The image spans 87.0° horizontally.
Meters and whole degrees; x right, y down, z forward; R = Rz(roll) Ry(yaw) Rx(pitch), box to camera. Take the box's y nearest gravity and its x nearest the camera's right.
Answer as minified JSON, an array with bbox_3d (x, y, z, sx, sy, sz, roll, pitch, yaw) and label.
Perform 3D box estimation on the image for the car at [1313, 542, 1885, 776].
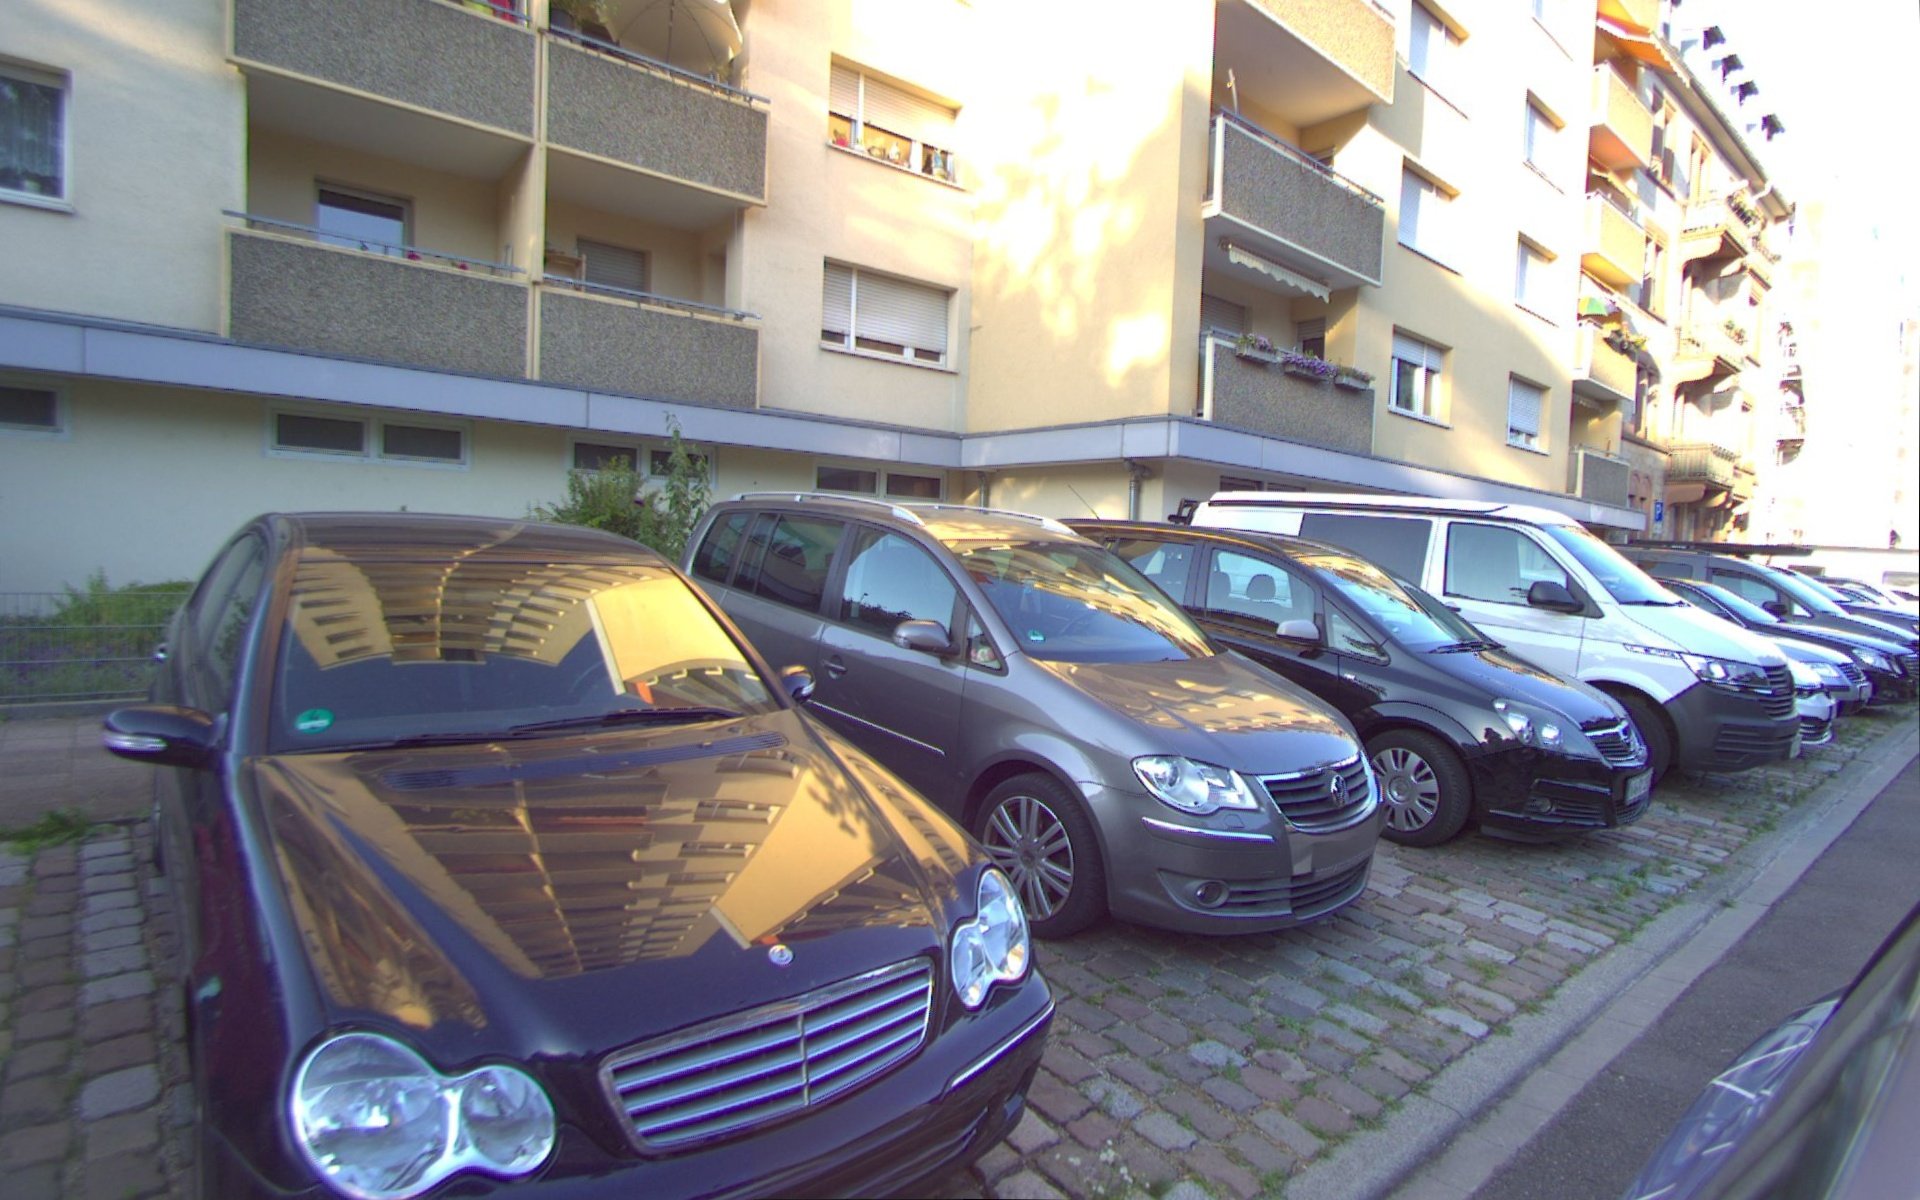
[{"bbox_3d":[6.025,0.330,10.043,1.814,1.650,4.414,-3,6,-41],"label":"car"}]

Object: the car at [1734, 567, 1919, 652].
[{"bbox_3d":[20.036,0.191,22.287,1.813,1.572,4.415,-2,6,-40],"label":"car"}]

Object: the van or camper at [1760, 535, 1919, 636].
[{"bbox_3d":[25.868,-0.338,27.503,2.014,2.533,6.075,0,5,-40],"label":"van or camper"}]

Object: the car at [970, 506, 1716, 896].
[{"bbox_3d":[2.208,0.298,6.863,1.752,1.680,4.334,-3,8,-43],"label":"car"}]

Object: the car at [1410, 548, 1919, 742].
[{"bbox_3d":[7.782,0.305,11.581,1.814,1.611,4.414,-3,6,-41],"label":"car"}]

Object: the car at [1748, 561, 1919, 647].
[{"bbox_3d":[21.813,0.064,24.097,1.812,1.769,4.419,-2,6,-37],"label":"car"}]

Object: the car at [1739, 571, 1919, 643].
[{"bbox_3d":[23.218,0.140,26.283,1.813,1.638,4.414,-3,4,-39],"label":"car"}]

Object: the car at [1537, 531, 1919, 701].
[{"bbox_3d":[11.316,0.061,14.760,1.814,2.004,4.648,-3,6,-41],"label":"car"}]

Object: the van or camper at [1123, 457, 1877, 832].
[{"bbox_3d":[4.113,-0.002,8.610,2.006,2.192,5.145,-1,7,-42],"label":"van or camper"}]

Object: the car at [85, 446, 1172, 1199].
[{"bbox_3d":[-1.661,0.385,3.446,1.815,1.549,4.411,-3,6,-43],"label":"car"}]

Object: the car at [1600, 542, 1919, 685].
[{"bbox_3d":[13.169,0.122,16.206,1.814,1.885,4.523,0,5,-41],"label":"car"}]

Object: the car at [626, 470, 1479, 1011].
[{"bbox_3d":[0.043,0.212,5.393,1.815,1.680,4.412,-3,8,-43],"label":"car"}]

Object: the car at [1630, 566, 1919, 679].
[{"bbox_3d":[14.901,0.300,18.158,1.813,1.572,4.417,-2,6,-38],"label":"car"}]

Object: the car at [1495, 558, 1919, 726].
[{"bbox_3d":[9.593,0.359,13.002,1.814,1.581,4.414,-3,6,-41],"label":"car"}]
